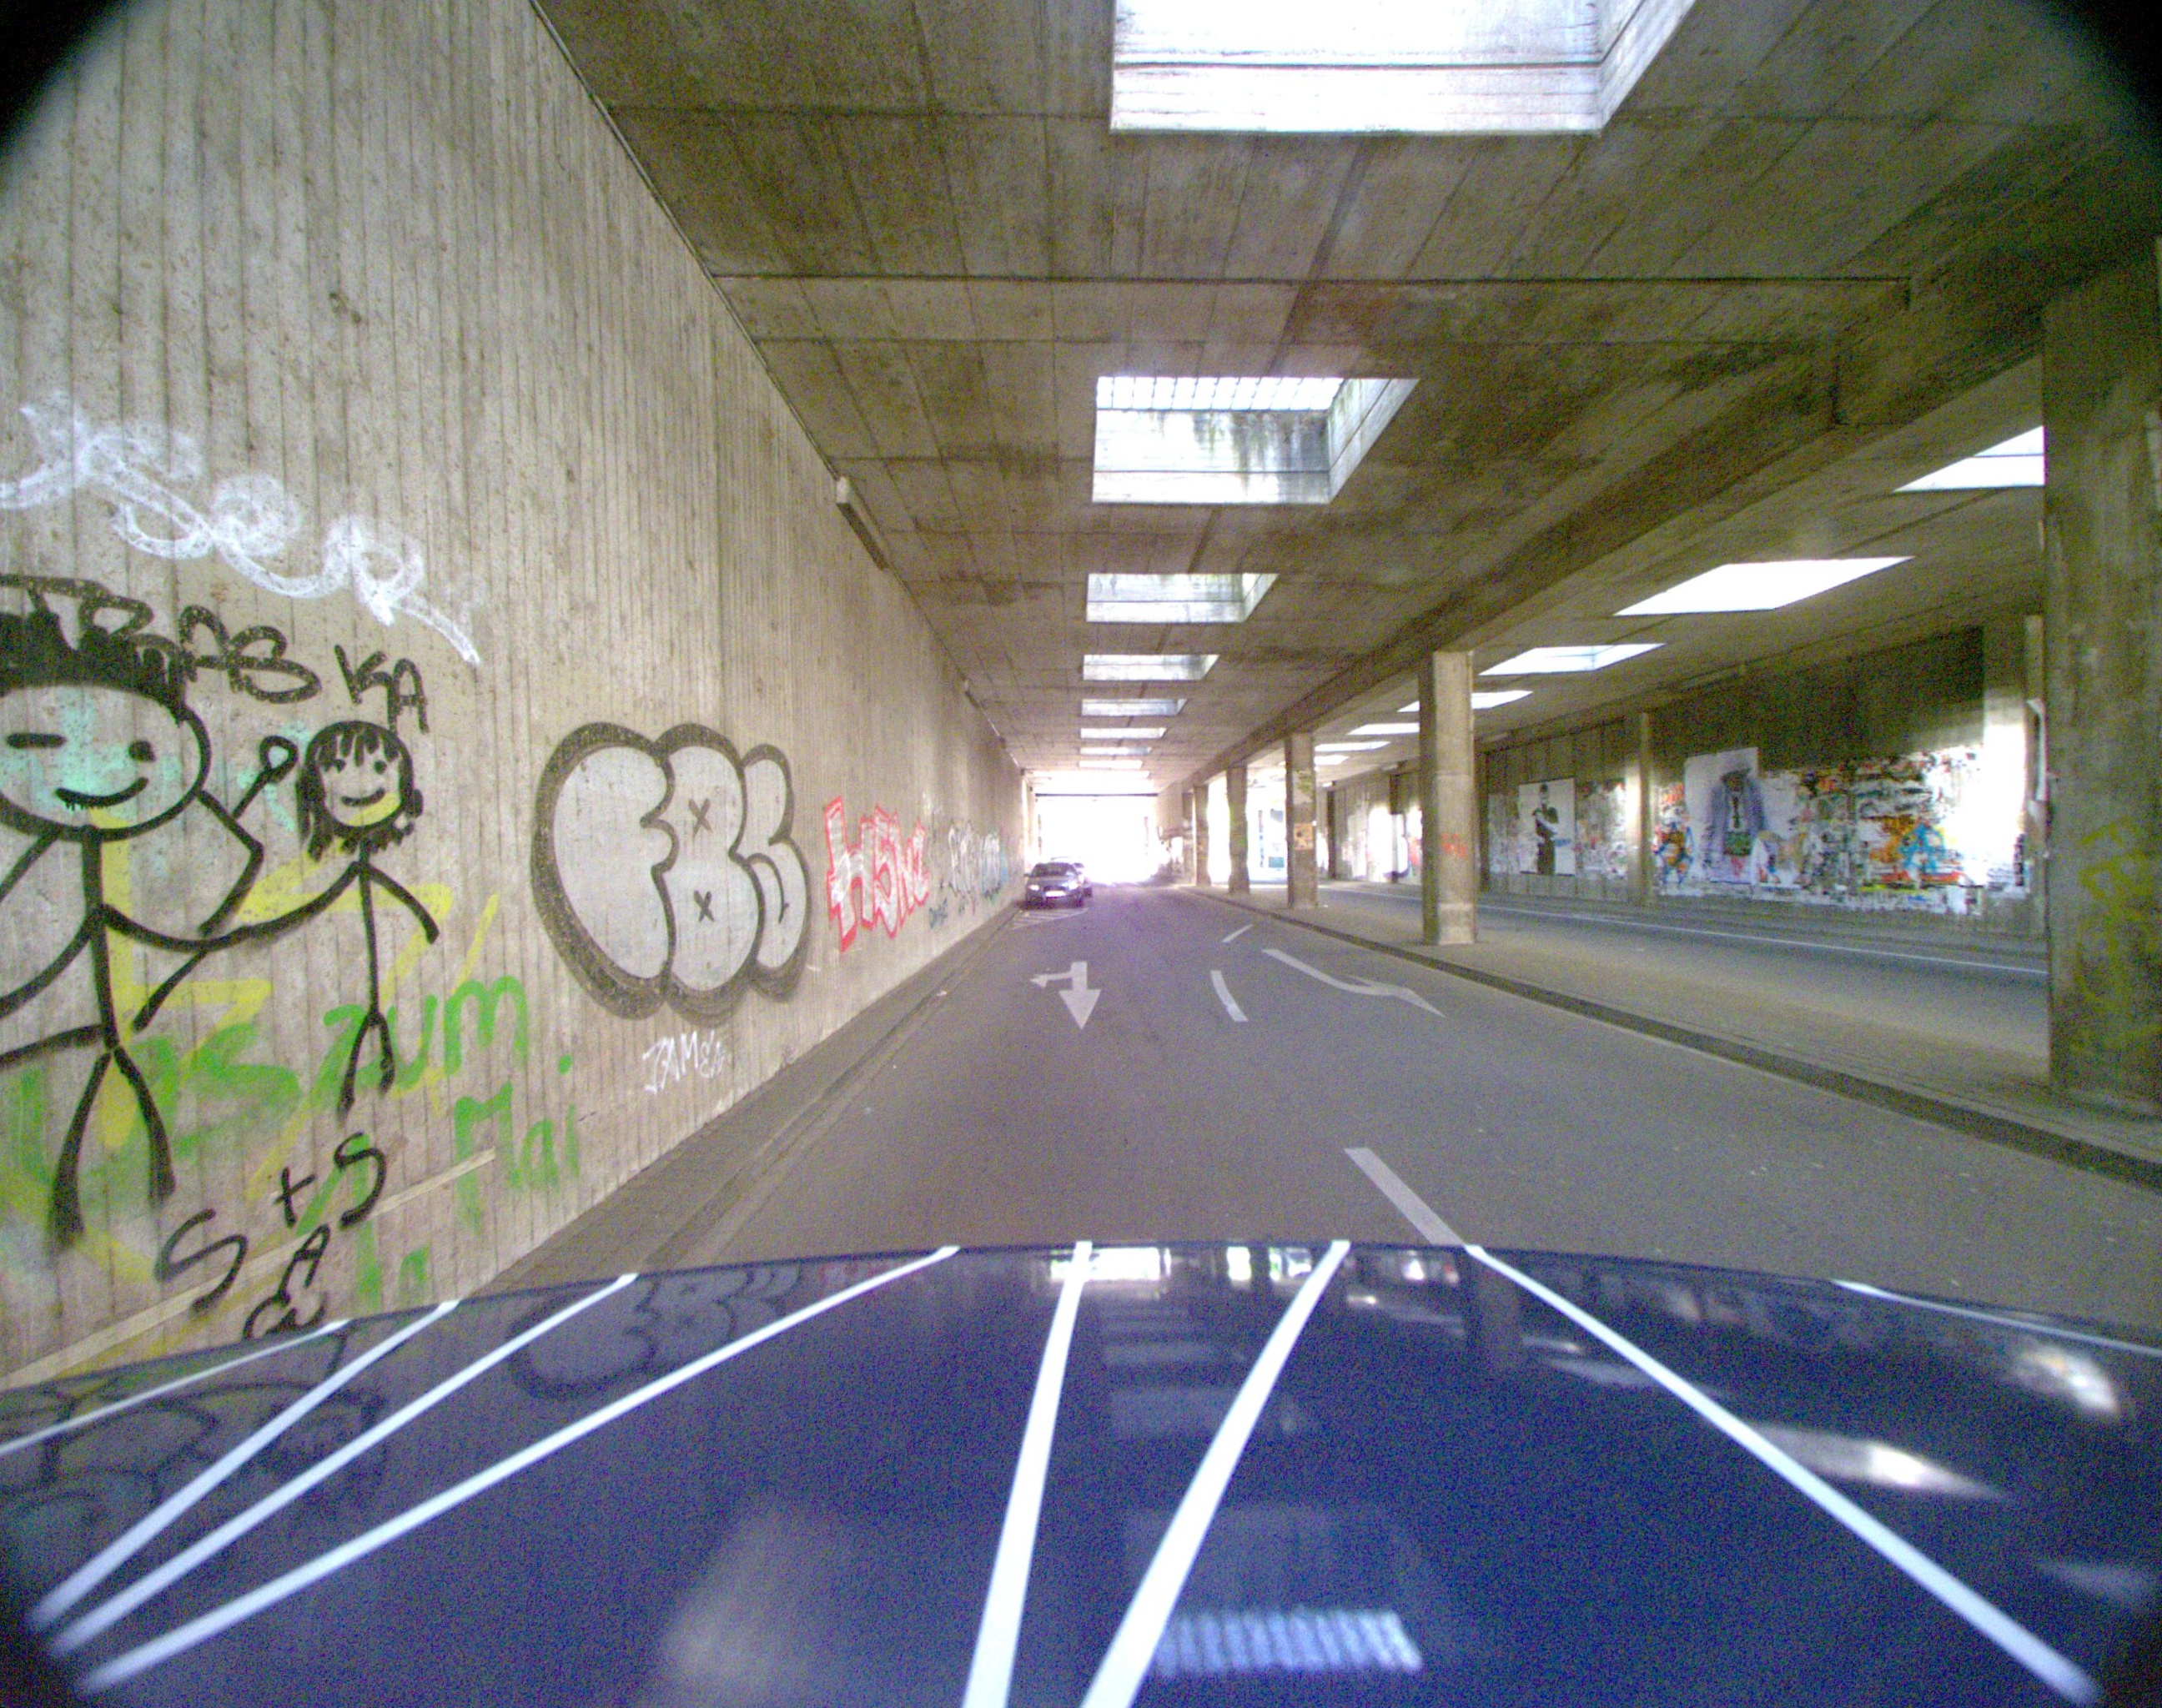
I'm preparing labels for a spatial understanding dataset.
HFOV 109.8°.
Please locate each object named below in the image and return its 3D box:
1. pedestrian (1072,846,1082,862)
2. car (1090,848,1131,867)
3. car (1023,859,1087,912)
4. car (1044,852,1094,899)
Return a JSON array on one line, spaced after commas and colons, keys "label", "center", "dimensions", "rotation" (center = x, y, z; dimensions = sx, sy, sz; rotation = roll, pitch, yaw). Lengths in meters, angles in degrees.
[{"label": "pedestrian", "center": [-0.498, -0.043, 100.222], "dimensions": [1.215, 2.002, 1.489], "rotation": [-2, 1, -3]}, {"label": "car", "center": [3.029, 0.369, 77.575], "dimensions": [3.997, 1.740, 1.999], "rotation": [-2, 1, -2]}, {"label": "car", "center": [-0.735, 0.918, 24.065], "dimensions": [1.767, 1.407, 3.999], "rotation": [-2, 1, 1]}, {"label": "car", "center": [-0.487, 0.779, 29.826], "dimensions": [1.767, 1.634, 3.999], "rotation": [-2, 1, -2]}]
